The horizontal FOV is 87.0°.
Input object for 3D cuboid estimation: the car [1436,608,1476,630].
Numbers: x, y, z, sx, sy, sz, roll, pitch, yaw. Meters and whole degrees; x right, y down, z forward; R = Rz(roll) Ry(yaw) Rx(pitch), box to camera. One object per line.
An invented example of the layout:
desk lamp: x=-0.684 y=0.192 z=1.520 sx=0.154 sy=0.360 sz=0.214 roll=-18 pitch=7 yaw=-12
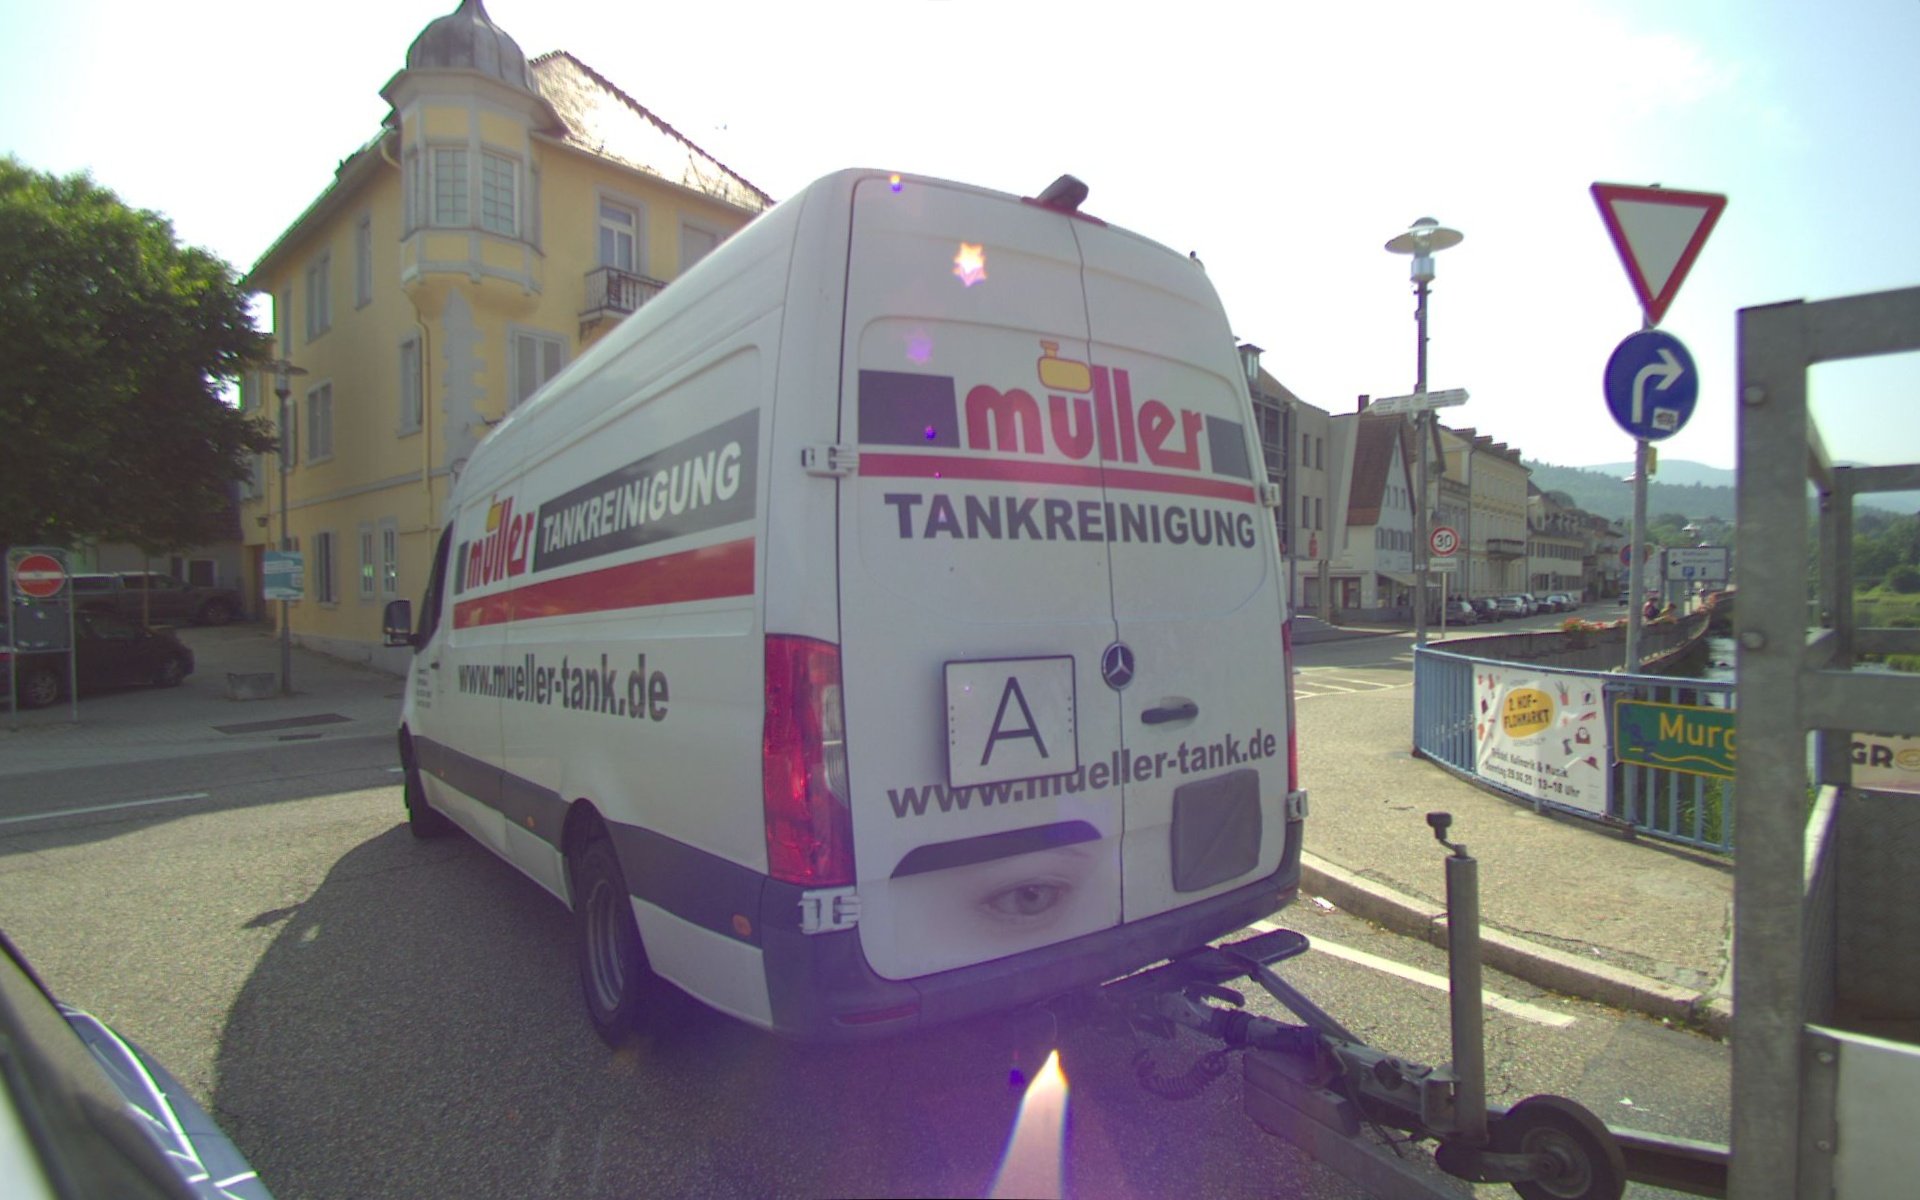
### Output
car: x=30.556 y=1.152 z=62.319 sx=1.567 sy=1.229 sz=3.234 roll=-1 pitch=0 yaw=38

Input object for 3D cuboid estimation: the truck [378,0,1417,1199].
truck: x=-1.539 y=0.081 z=5.467 sx=2.077 sy=2.719 sz=7.150 roll=-1 pitch=-2 yaw=-35

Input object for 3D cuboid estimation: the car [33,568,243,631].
car: x=-26.715 y=-0.021 z=33.072 sx=1.996 sy=1.905 sz=5.012 roll=-1 pitch=0 yaw=36

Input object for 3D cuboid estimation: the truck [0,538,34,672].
truck: x=-23.995 y=0.070 z=23.183 sx=8.855 sy=2.778 sz=2.971 roll=1 pitch=2 yaw=40

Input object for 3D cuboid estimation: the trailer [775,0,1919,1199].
trailer: x=2.607 y=0.387 z=0.595 sx=5.640 sy=1.841 sz=2.581 roll=-2 pitch=-1 yaw=45

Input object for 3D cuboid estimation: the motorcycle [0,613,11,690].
motorcycle: x=-18.169 y=0.987 z=17.761 sx=0.887 sy=1.371 sz=2.061 roll=-1 pitch=3 yaw=38

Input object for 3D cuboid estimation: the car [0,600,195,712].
car: x=-15.474 y=0.853 z=17.199 sx=1.897 sy=1.554 sz=3.958 roll=0 pitch=2 yaw=1

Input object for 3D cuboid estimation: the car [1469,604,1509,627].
car: x=34.869 y=1.029 z=66.630 sx=1.751 sy=1.458 sz=3.234 roll=-1 pitch=0 yaw=38

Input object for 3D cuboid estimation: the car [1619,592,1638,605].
car: x=74.773 y=-0.158 z=113.146 sx=1.517 sy=1.458 sz=3.234 roll=-1 pitch=0 yaw=38

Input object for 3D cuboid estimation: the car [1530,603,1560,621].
car: x=48.685 y=1.013 z=84.214 sx=1.751 sy=1.458 sz=3.234 roll=-1 pitch=0 yaw=38

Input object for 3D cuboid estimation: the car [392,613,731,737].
car: x=-5.528 y=0.955 z=14.458 sx=1.756 sy=1.366 sz=4.142 roll=-2 pitch=0 yaw=41

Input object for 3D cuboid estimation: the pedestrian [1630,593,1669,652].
pedestrian: x=20.452 y=0.663 z=30.032 sx=0.869 sy=1.719 sz=0.766 roll=0 pitch=0 yaw=42

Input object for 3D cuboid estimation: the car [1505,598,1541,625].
car: x=41.759 y=0.822 z=74.988 sx=1.751 sy=1.949 sz=3.531 roll=-1 pitch=0 yaw=38
